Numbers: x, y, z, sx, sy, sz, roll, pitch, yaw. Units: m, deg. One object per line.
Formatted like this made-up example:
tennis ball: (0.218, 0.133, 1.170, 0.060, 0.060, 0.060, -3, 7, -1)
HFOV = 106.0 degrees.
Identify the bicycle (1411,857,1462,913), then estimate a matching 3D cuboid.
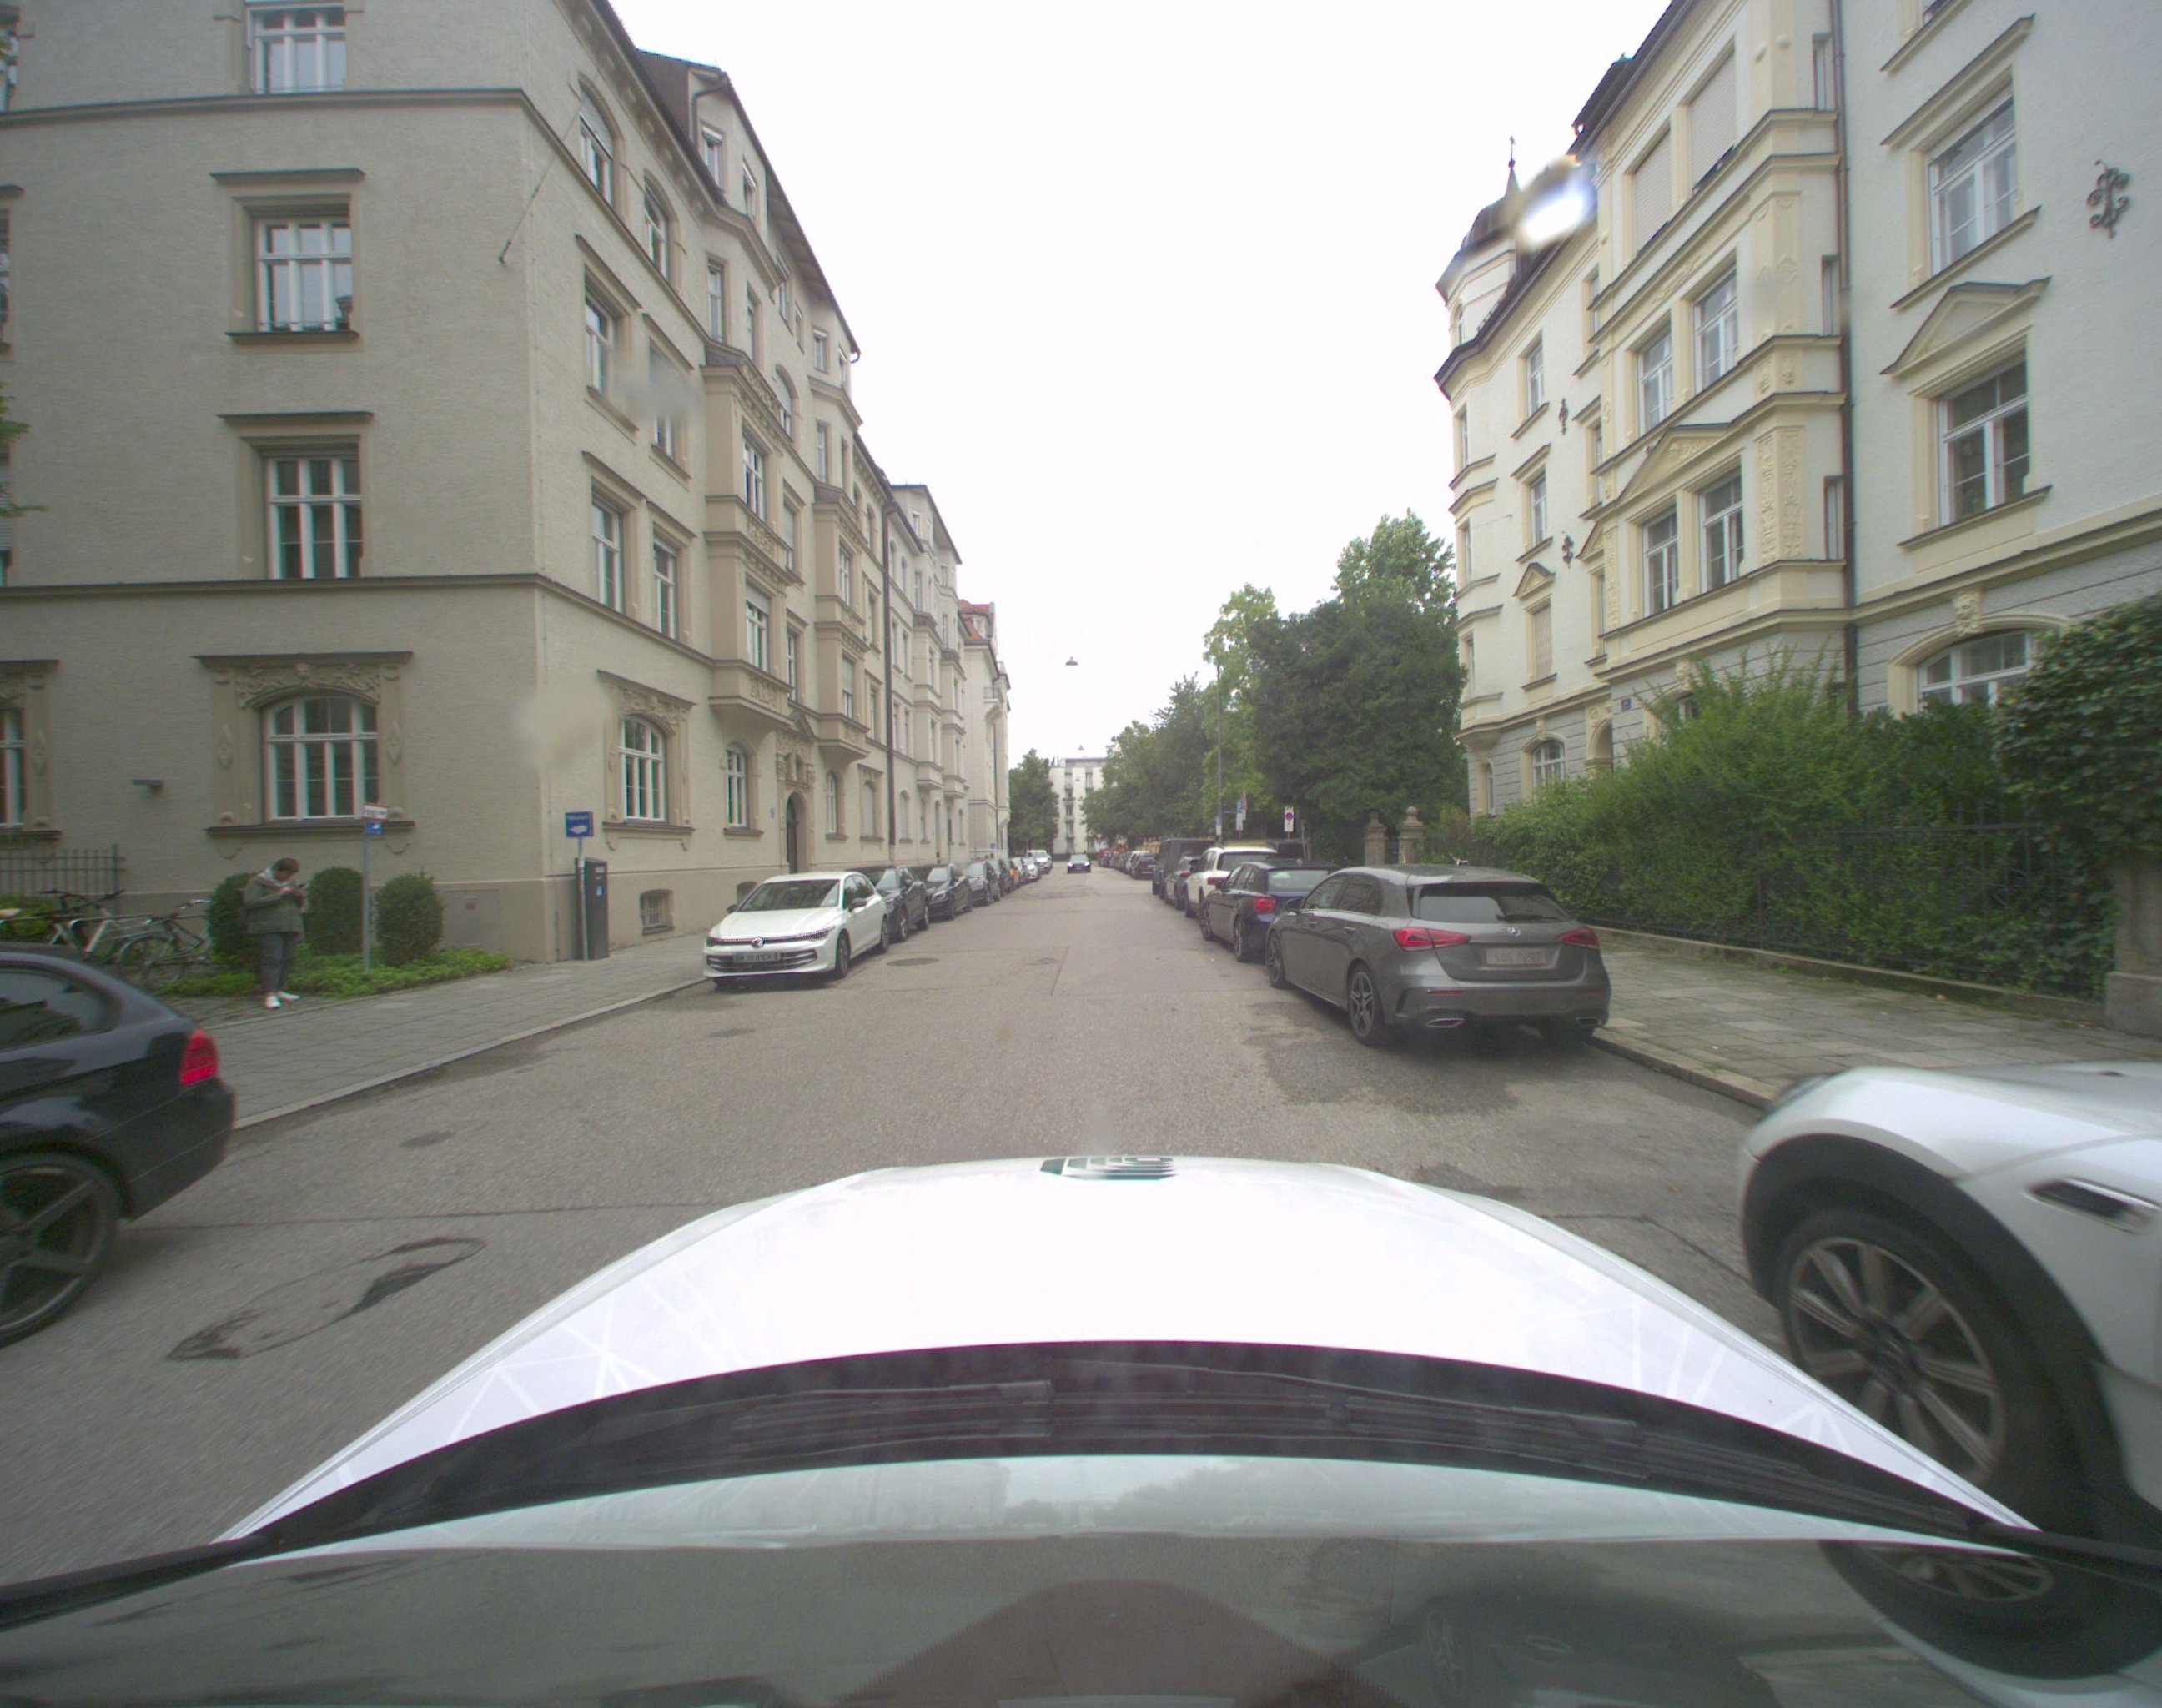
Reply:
bicycle: (7.313, 0.614, 16.786, 0.453, 1.098, 1.313, -1, 0, 0)

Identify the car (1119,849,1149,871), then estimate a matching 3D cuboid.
car: (3.945, 0.438, 60.767, 1.834, 1.551, 3.944, 0, 0, -2)

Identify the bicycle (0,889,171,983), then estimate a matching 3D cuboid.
bicycle: (-13.469, 1.040, 10.785, 0.582, 1.003, 1.909, 0, 2, 4)

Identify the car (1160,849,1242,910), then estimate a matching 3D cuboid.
car: (3.253, 0.667, 22.673, 1.717, 1.519, 3.629, 1, 0, -1)

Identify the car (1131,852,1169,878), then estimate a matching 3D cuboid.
car: (3.810, 0.600, 45.548, 1.832, 1.413, 4.343, 0, 0, 1)

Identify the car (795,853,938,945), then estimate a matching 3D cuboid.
car: (-4.288, 0.817, 17.041, 1.765, 1.518, 4.384, -4, 0, -1)

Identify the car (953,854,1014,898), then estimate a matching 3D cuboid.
car: (-3.810, 0.834, 32.420, 1.747, 1.499, 4.020, -3, 0, 2)

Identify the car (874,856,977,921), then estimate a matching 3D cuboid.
car: (-4.051, 0.840, 21.989, 1.827, 1.434, 4.553, -3, 0, 0)

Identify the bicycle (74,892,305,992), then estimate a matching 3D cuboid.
bicycle: (-11.442, 1.085, 10.585, 0.691, 0.960, 2.011, 2, 3, 4)

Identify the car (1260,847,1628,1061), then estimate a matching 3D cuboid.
car: (3.022, 0.701, 7.786, 1.679, 1.504, 4.016, 0, 0, -1)

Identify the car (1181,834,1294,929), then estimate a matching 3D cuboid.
car: (3.250, 0.528, 17.710, 1.716, 1.769, 4.415, 1, 0, 2)

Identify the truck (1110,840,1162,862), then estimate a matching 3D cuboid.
truck: (8.709, -0.461, 129.142, 7.676, 3.241, 2.887, -1, 0, -12)

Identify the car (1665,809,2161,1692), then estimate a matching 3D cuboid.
car: (2.706, 0.672, 0.558, 1.778, 1.504, 4.066, 0, 0, 1)

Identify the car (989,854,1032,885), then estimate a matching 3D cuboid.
car: (-3.682, 0.780, 43.188, 1.719, 1.499, 3.932, -3, 0, 2)

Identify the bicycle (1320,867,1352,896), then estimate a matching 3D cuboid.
bicycle: (7.282, 0.770, 23.318, 0.511, 0.781, 1.355, -1, 0, 2)

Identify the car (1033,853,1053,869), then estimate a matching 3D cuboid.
car: (-4.167, 0.759, 90.253, 2.009, 1.634, 4.412, -4, 0, -1)

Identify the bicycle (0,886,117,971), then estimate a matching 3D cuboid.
bicycle: (-14.233, 0.998, 10.809, 0.551, 0.997, 1.834, -1, 3, 4)

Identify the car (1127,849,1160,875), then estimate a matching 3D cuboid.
car: (3.877, 0.497, 50.846, 1.648, 1.519, 3.791, 0, 0, -2)

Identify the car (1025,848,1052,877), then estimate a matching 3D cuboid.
car: (-3.419, 0.656, 66.595, 1.881, 2.127, 4.705, -4, 0, -1)

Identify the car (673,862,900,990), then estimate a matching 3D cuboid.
car: (-4.164, 0.919, 12.344, 1.831, 1.434, 4.244, -3, 0, 0)

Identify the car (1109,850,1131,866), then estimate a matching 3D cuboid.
car: (3.847, 0.417, 80.109, 1.834, 1.519, 3.944, 0, 0, -2)

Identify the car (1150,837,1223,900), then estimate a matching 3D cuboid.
car: (3.478, 0.400, 27.681, 1.944, 1.954, 4.666, 0, 1, 1)

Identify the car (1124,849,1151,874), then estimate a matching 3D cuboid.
car: (3.835, 0.498, 55.577, 1.509, 1.661, 3.672, 0, 0, -1)

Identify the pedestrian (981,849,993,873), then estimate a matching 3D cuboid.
pedestrian: (-6.698, 0.507, 57.946, 0.790, 1.679, 0.699, -1, 0, -3)

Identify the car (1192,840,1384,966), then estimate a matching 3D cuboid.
car: (2.975, 0.611, 12.716, 1.746, 1.610, 4.420, 0, 1, -2)

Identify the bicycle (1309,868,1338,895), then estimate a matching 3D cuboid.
bicycle: (7.367, 0.824, 24.758, 0.511, 0.734, 1.355, -1, 0, 2)

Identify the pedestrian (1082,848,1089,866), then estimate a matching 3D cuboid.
pedestrian: (0.556, 0.350, 106.783, 0.838, 2.285, 0.843, -1, 0, 2)

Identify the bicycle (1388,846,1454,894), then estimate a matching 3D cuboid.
bicycle: (8.712, 0.414, 20.883, 1.484, 1.198, 0.489, 1, -1, -5)

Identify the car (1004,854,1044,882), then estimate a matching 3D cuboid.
car: (-3.323, 0.782, 48.080, 1.829, 1.438, 4.276, -4, 0, 2)

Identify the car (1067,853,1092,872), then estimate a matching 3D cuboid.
car: (-0.138, 0.624, 64.793, 1.869, 1.428, 4.407, -1, 0, -1)

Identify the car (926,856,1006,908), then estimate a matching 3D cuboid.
car: (-3.738, 0.863, 27.110, 1.829, 1.435, 4.246, -4, 0, 2)

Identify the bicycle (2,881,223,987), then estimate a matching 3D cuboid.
bicycle: (-12.615, 0.995, 10.715, 0.610, 1.092, 1.821, 1, 3, 4)

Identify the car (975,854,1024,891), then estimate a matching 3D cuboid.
car: (-3.706, 0.804, 37.613, 1.634, 1.499, 3.974, -4, 0, 2)

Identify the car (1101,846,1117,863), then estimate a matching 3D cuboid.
car: (3.340, 0.043, 96.260, 1.828, 1.927, 4.008, 1, 1, 3)

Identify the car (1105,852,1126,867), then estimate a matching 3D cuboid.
car: (3.537, 0.558, 84.291, 1.834, 1.519, 3.944, 0, 0, -2)

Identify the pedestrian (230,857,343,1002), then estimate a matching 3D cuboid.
pedestrian: (-9.323, 0.855, 9.576, 0.671, 1.626, 0.630, -1, 0, -2)

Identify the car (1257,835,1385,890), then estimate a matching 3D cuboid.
car: (9.501, 0.292, 32.403, 4.522, 1.950, 1.900, -2, 2, -6)

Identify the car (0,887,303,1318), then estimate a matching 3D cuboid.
car: (-4.590, 0.898, 1.633, 1.781, 1.412, 4.368, -1, 0, 1)
